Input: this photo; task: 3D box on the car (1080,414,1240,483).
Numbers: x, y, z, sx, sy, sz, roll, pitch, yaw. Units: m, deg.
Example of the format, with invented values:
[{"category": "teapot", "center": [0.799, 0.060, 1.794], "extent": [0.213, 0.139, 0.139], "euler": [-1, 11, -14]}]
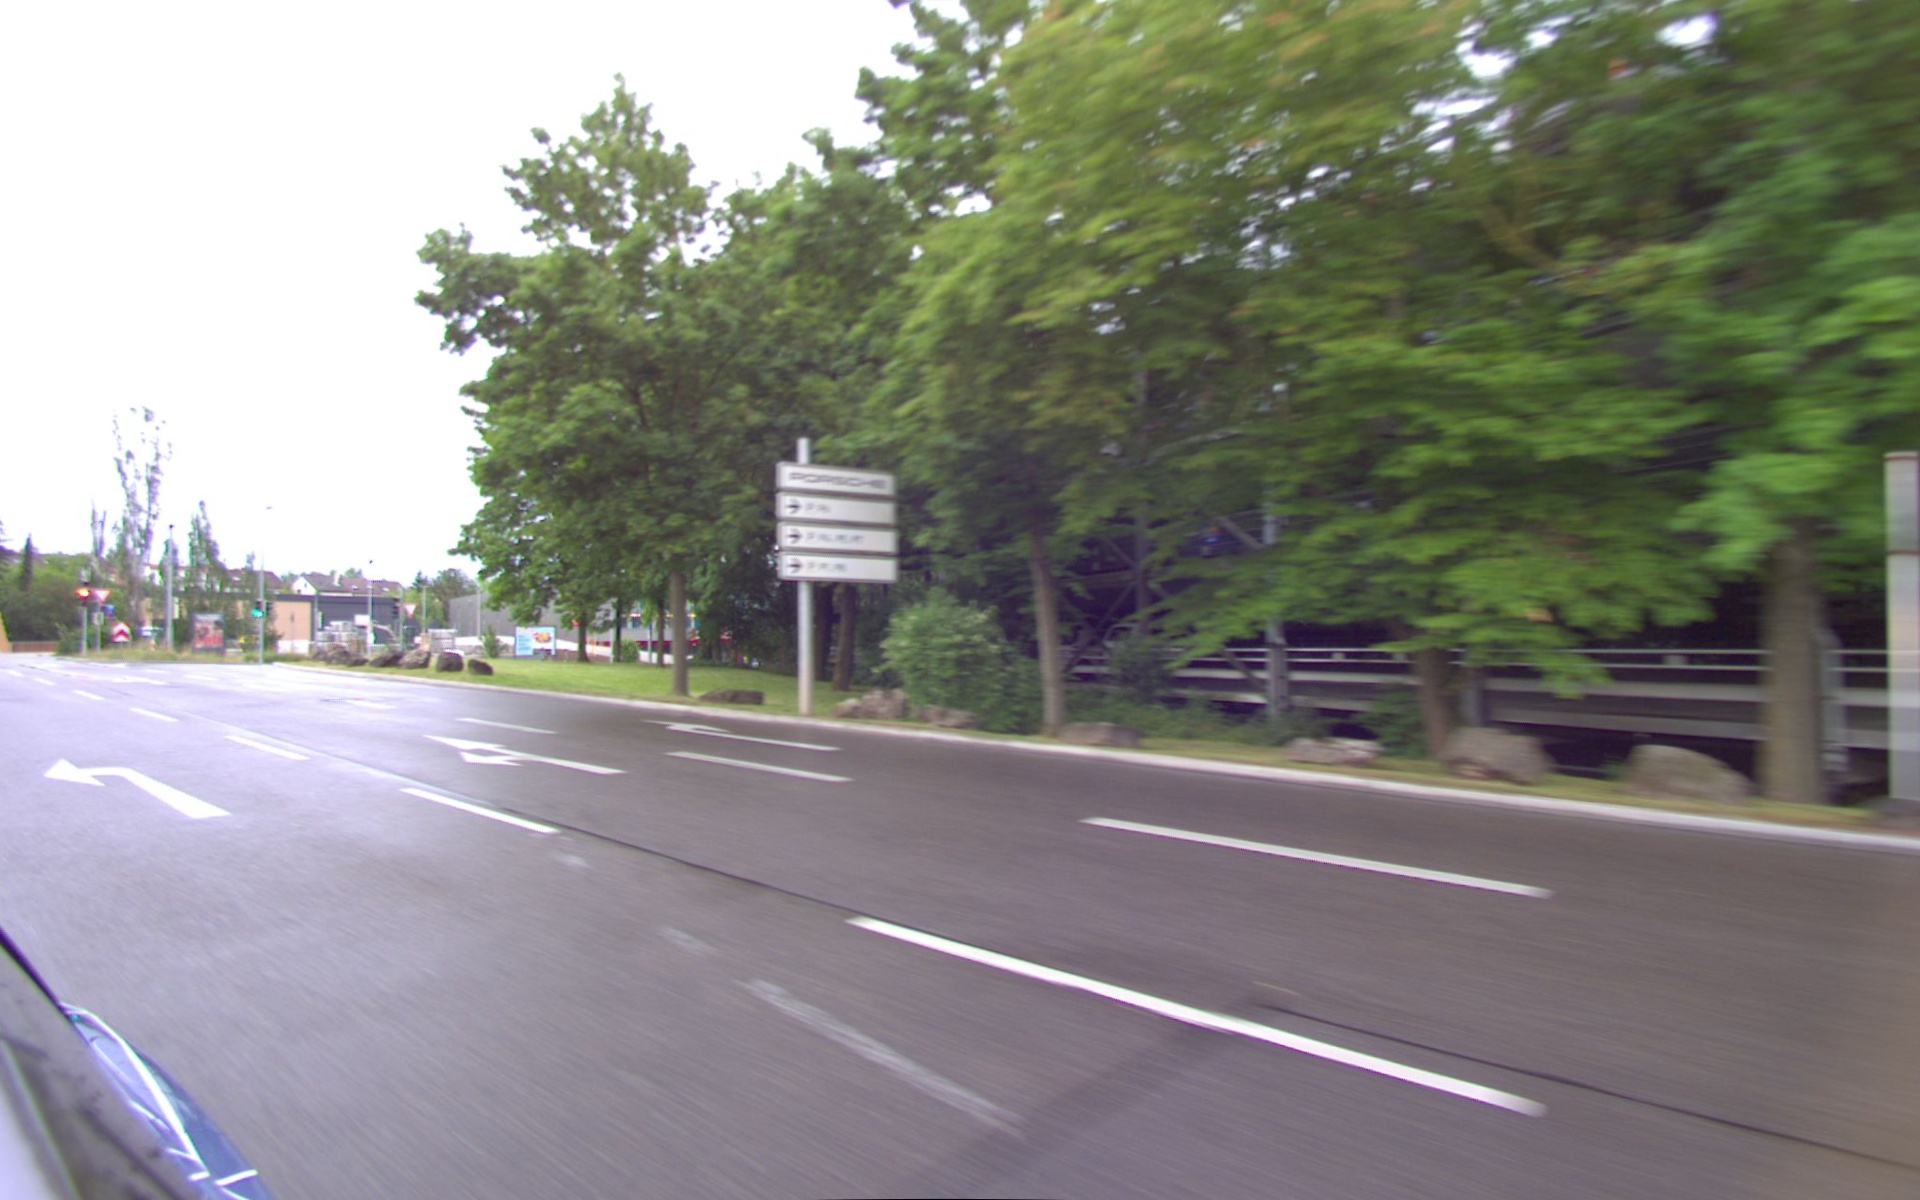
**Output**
[{"category": "car", "center": [5.660, -4.253, 28.749], "extent": [3.931, 1.530, 2.006], "euler": [-2, -1, -20]}]

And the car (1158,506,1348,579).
[{"category": "car", "center": [7.034, -1.372, 24.378], "extent": [3.931, 1.530, 2.006], "euler": [-2, -1, -20]}]

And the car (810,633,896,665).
[{"category": "car", "center": [-5.457, 2.514, 51.683], "extent": [3.931, 1.530, 2.006], "euler": [2, -2, -21]}]

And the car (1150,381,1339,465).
[{"category": "car", "center": [6.872, -4.213, 24.522], "extent": [3.931, 1.530, 2.006], "euler": [-2, -1, -20]}]

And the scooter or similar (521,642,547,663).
[{"category": "scooter or similar", "center": [-25.968, 3.197, 61.732], "extent": [0.548, 1.269, 1.341], "euler": [-2, -5, 35]}]

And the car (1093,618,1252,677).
[{"category": "car", "center": [5.991, 1.343, 28.612], "extent": [3.931, 1.530, 2.006], "euler": [2, -2, -20]}]

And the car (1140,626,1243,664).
[{"category": "car", "center": [9.943, 1.951, 43.475], "extent": [3.931, 1.530, 2.006], "euler": [2, -3, -27]}]

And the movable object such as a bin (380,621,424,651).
[{"category": "movable object such as a bin", "center": [-51.300, 3.361, 93.123], "extent": [1.927, 2.647, 2.958], "euler": [-3, -6, 41]}]

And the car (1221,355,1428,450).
[{"category": "car", "center": [8.097, -4.325, 22.559], "extent": [3.931, 1.530, 2.006], "euler": [-2, -1, -20]}]

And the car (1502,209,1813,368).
[{"category": "car", "center": [10.761, -4.692, 15.668], "extent": [3.931, 1.530, 2.006], "euler": [-2, -1, -20]}]

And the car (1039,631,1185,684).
[{"category": "car", "center": [4.674, 1.780, 31.212], "extent": [3.930, 1.530, 2.006], "euler": [2, -2, -22]}]

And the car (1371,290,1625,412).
[{"category": "car", "center": [9.964, -4.525, 18.805], "extent": [3.931, 1.530, 2.006], "euler": [-2, -1, -20]}]

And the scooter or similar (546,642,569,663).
[{"category": "scooter or similar", "center": [-24.960, 3.275, 62.769], "extent": [0.516, 1.269, 1.211], "euler": [-2, -5, 35]}]
